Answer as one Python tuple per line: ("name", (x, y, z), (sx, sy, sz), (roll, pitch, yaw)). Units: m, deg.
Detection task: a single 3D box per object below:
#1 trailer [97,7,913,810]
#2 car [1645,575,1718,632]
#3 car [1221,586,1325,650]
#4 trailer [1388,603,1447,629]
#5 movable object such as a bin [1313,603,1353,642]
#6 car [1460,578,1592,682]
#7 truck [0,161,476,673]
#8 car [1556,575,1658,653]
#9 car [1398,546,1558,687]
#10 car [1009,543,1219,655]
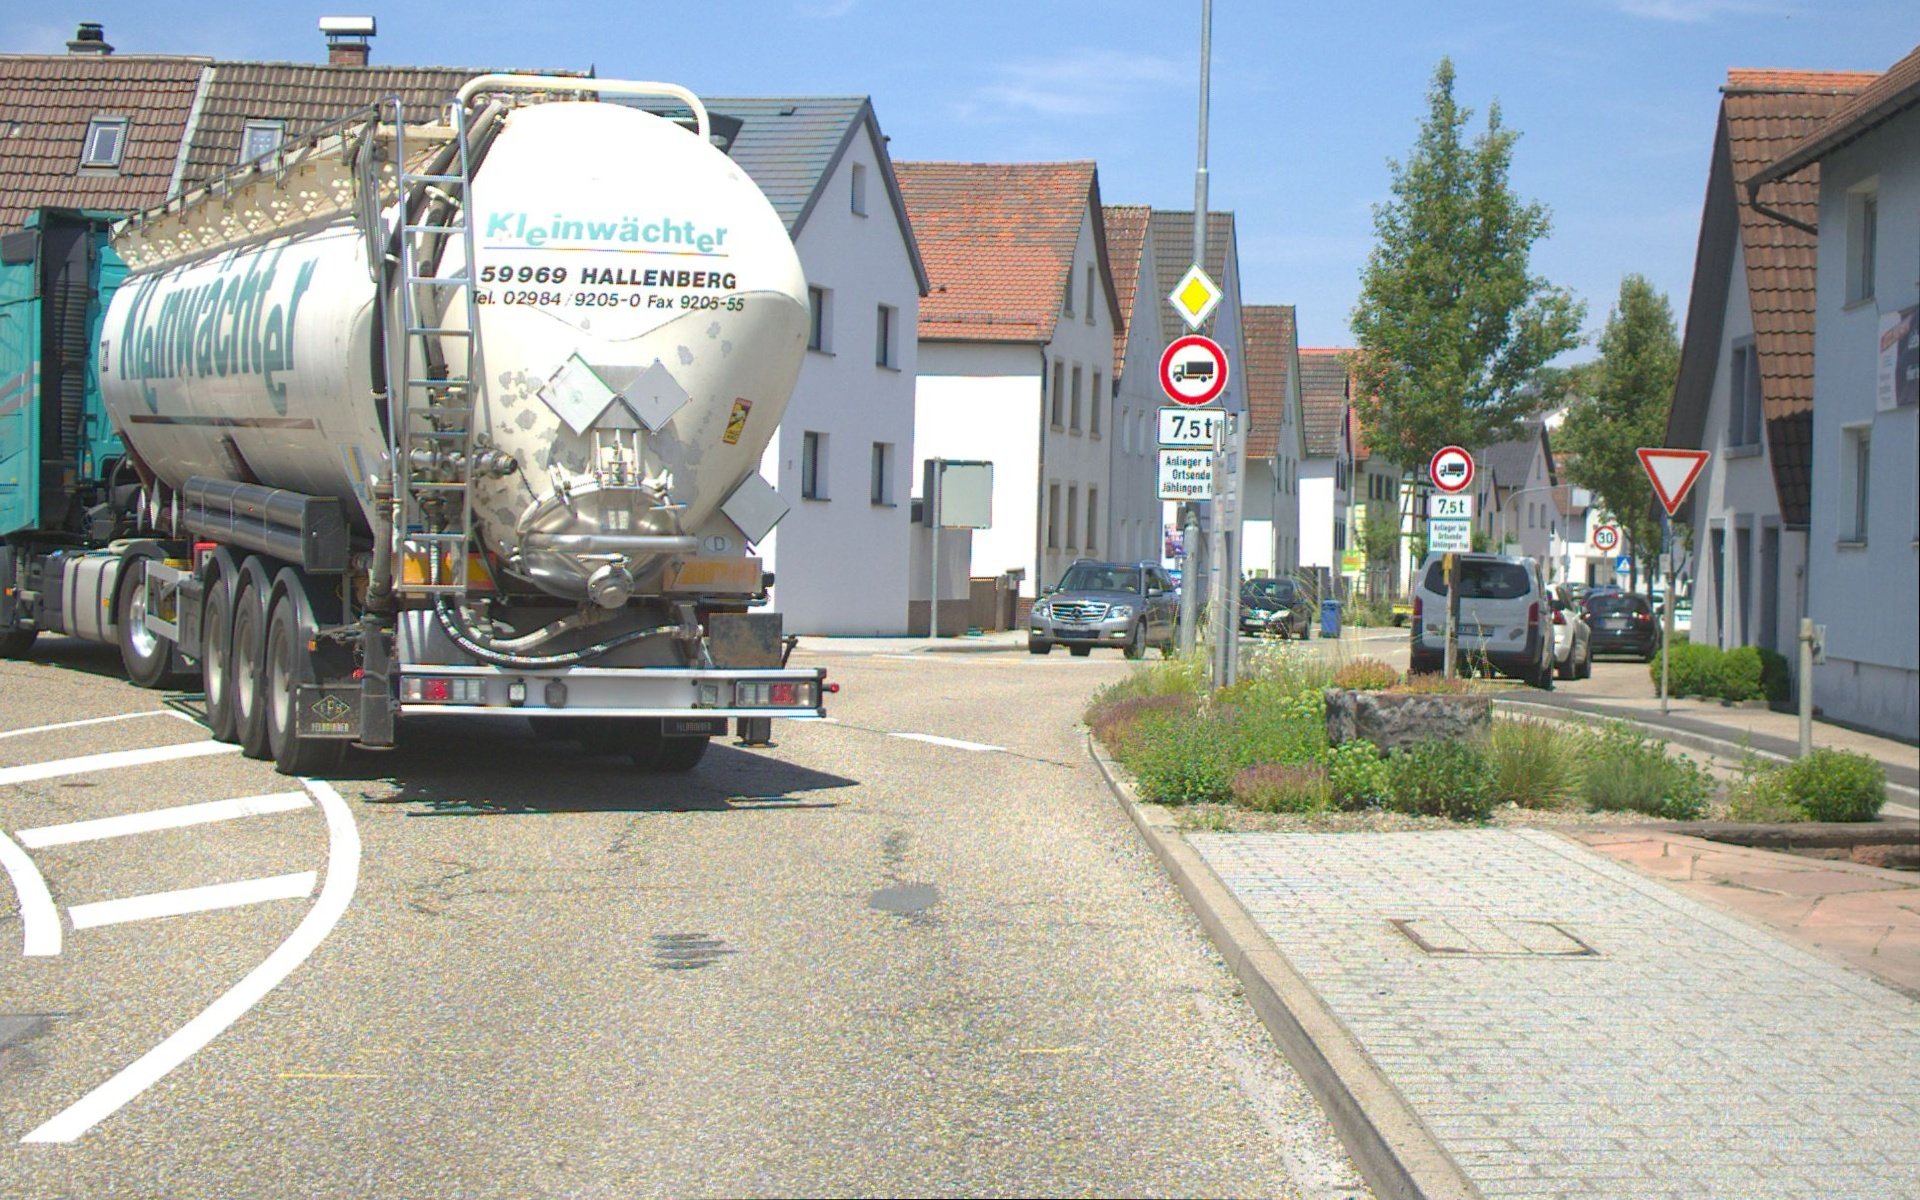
("trailer", (-3.650, -1.083, 23.085), (2.951, 3.934, 11.623), (3, 1, -19))
("car", (21.456, 0.087, 102.114), (1.995, 1.579, 3.998), (3, 1, 13))
("car", (8.453, 0.473, 92.616), (1.719, 1.590, 3.996), (3, 1, 20))
("trailer", (16.078, 0.559, 120.832), (1.951, 0.775, 2.719), (3, 1, 6))
("movable object such as a bin", (10.596, 0.643, 97.645), (0.920, 1.045, 0.943), (3, 1, 15))
("car", (9.652, 0.485, 58.383), (1.818, 1.629, 4.204), (2, 1, 14))
("truck", (-6.713, -1.477, 29.882), (2.987, 3.951, 5.579), (1, 1, -30))
("car", (14.318, 0.288, 75.967), (1.995, 1.579, 3.998), (3, 1, 13))
("car", (7.746, 0.288, 51.101), (1.995, 1.906, 4.321), (3, -1, 12))
("car", (2.587, 0.013, 56.730), (1.996, 1.669, 4.307), (3, 0, 23))
